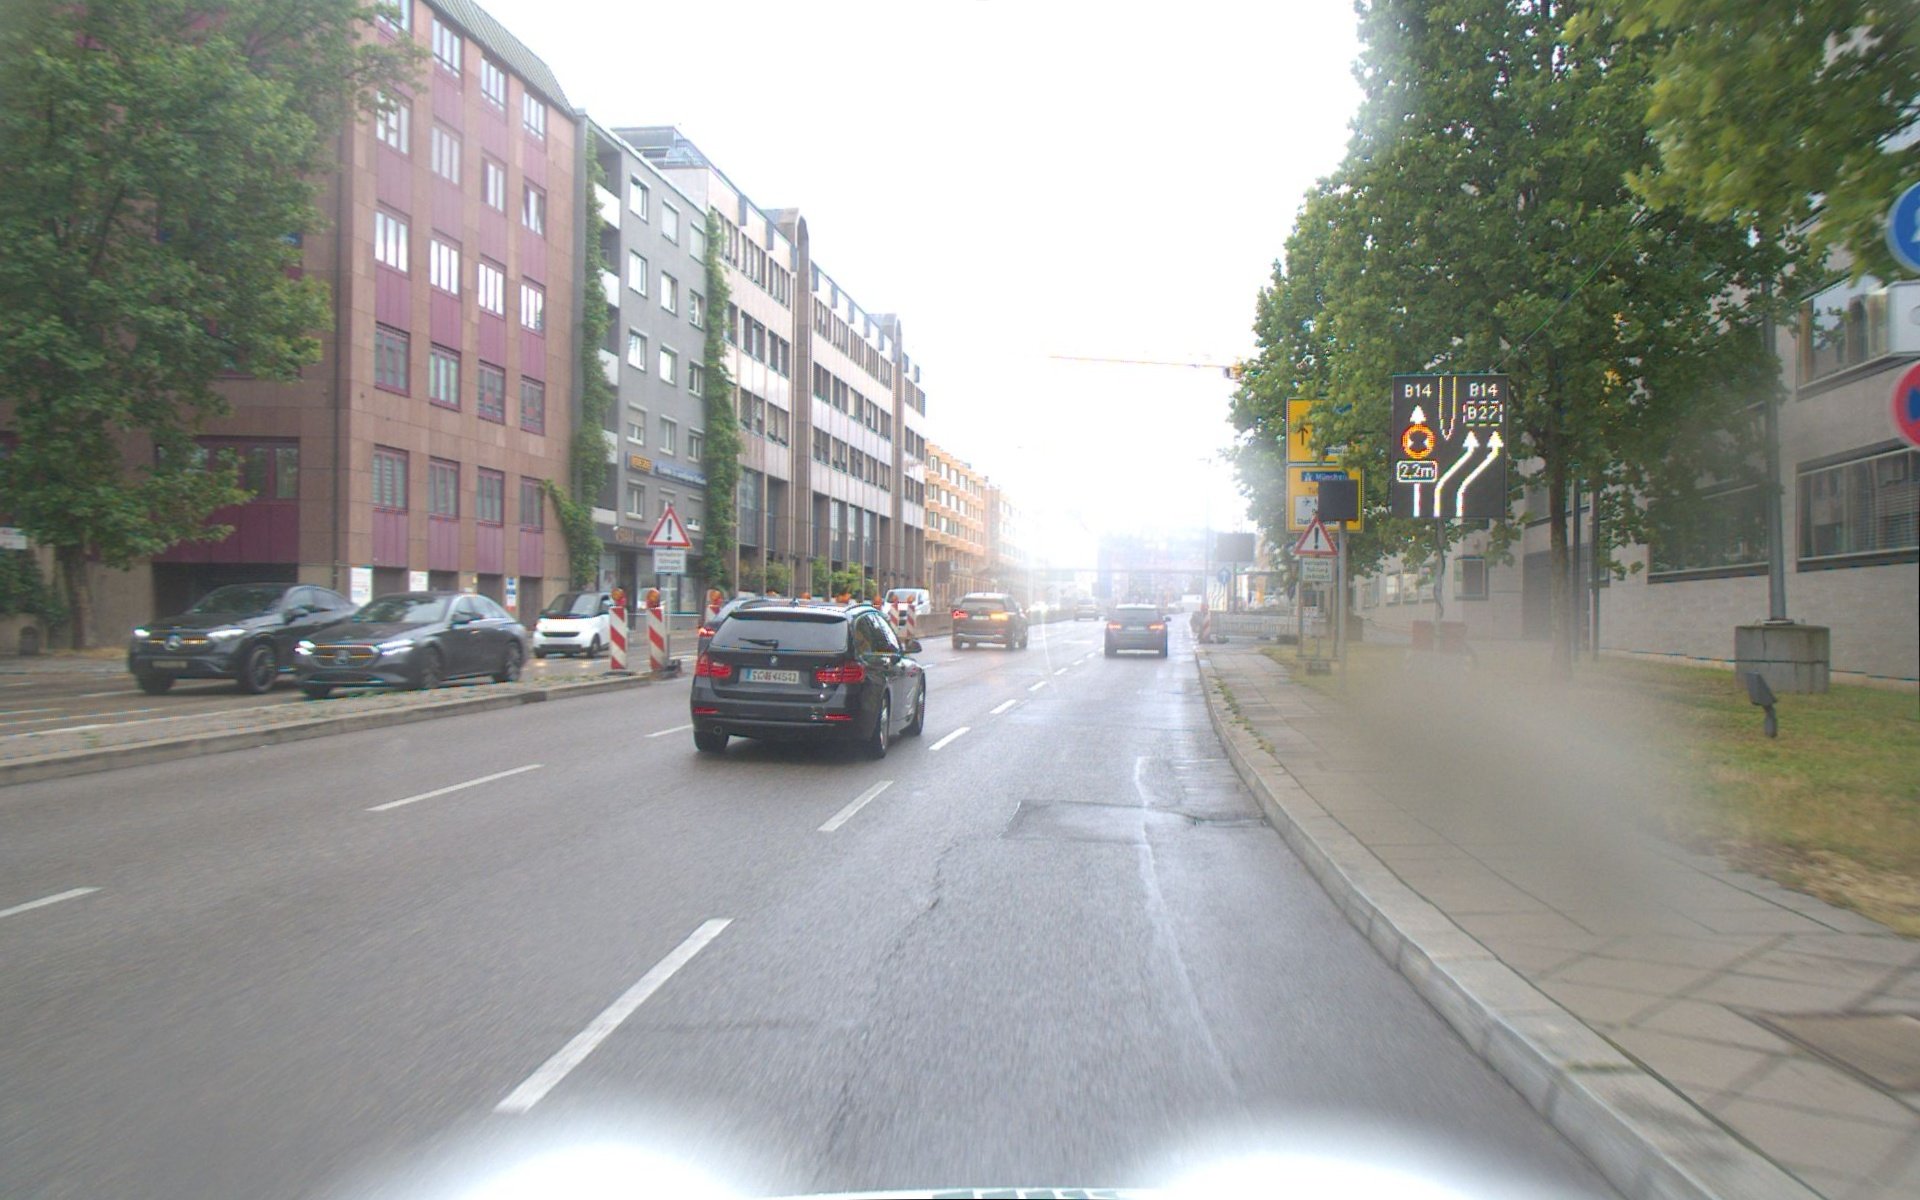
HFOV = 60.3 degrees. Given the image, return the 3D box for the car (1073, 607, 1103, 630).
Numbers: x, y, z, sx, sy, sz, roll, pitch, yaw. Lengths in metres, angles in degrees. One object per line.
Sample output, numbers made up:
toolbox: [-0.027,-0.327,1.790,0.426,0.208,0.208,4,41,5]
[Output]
car: [9.667,1.409,124.978,1.859,1.723,4.003,0,-1,11]

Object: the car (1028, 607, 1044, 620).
car: [8.951,1.601,195.577,1.568,1.468,3.661,0,1,8]

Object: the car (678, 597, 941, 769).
car: [-1.349,0.717,16.729,1.753,1.451,4.616,1,0,6]

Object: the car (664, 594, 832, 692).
car: [-3.333,0.656,26.828,1.753,1.451,4.387,0,-1,6]

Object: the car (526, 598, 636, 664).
car: [-8.950,0.727,39.242,1.522,1.510,2.951,0,-1,10]

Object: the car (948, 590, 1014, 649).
car: [0.591,0.579,49.892,1.861,1.723,3.999,0,-1,-1]

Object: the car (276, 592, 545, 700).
car: [-8.118,0.632,25.016,1.951,1.463,4.941,-1,0,6]

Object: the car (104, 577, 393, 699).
car: [-10.980,0.548,25.989,1.951,1.707,4.941,-1,0,6]

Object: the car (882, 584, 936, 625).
car: [-2.574,0.269,84.792,1.951,2.025,5.293,0,-1,7]

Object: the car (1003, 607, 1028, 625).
car: [4.910,1.378,146.266,1.821,1.560,4.233,0,-1,7]

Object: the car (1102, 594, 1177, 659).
car: [5.178,0.731,47.432,1.859,1.723,4.003,2,0,10]
